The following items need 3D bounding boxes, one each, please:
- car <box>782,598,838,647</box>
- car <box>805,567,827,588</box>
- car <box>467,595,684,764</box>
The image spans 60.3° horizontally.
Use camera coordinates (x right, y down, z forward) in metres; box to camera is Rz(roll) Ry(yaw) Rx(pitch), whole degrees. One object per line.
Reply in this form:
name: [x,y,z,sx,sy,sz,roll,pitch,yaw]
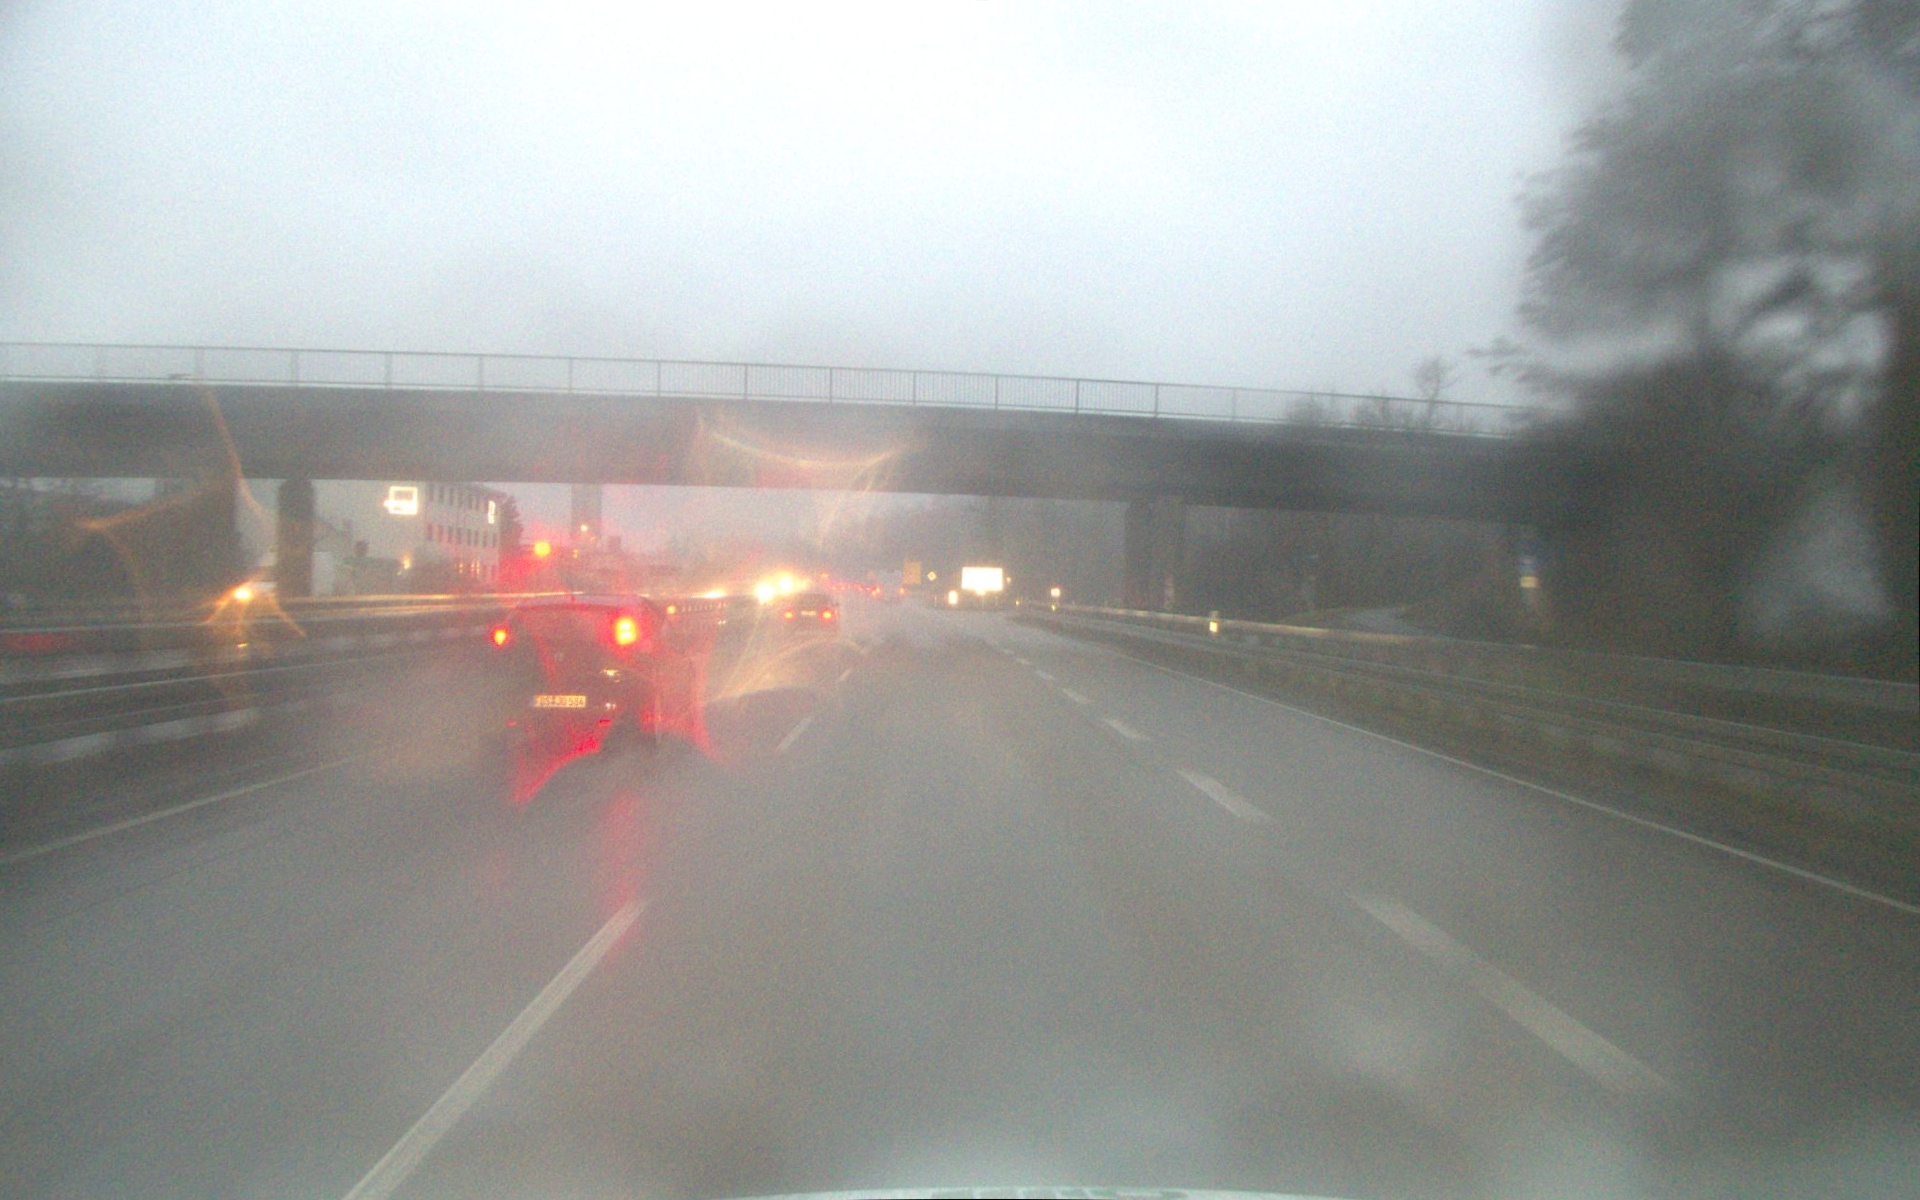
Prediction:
car: [-4.952,0.710,54.988,1.741,1.561,4.698,0,0,-4]
car: [-15.809,-2.459,181.912,2.084,2.157,3.568,3,0,-9]
car: [-3.837,0.733,17.009,1.497,1.440,3.477,3,1,-3]
